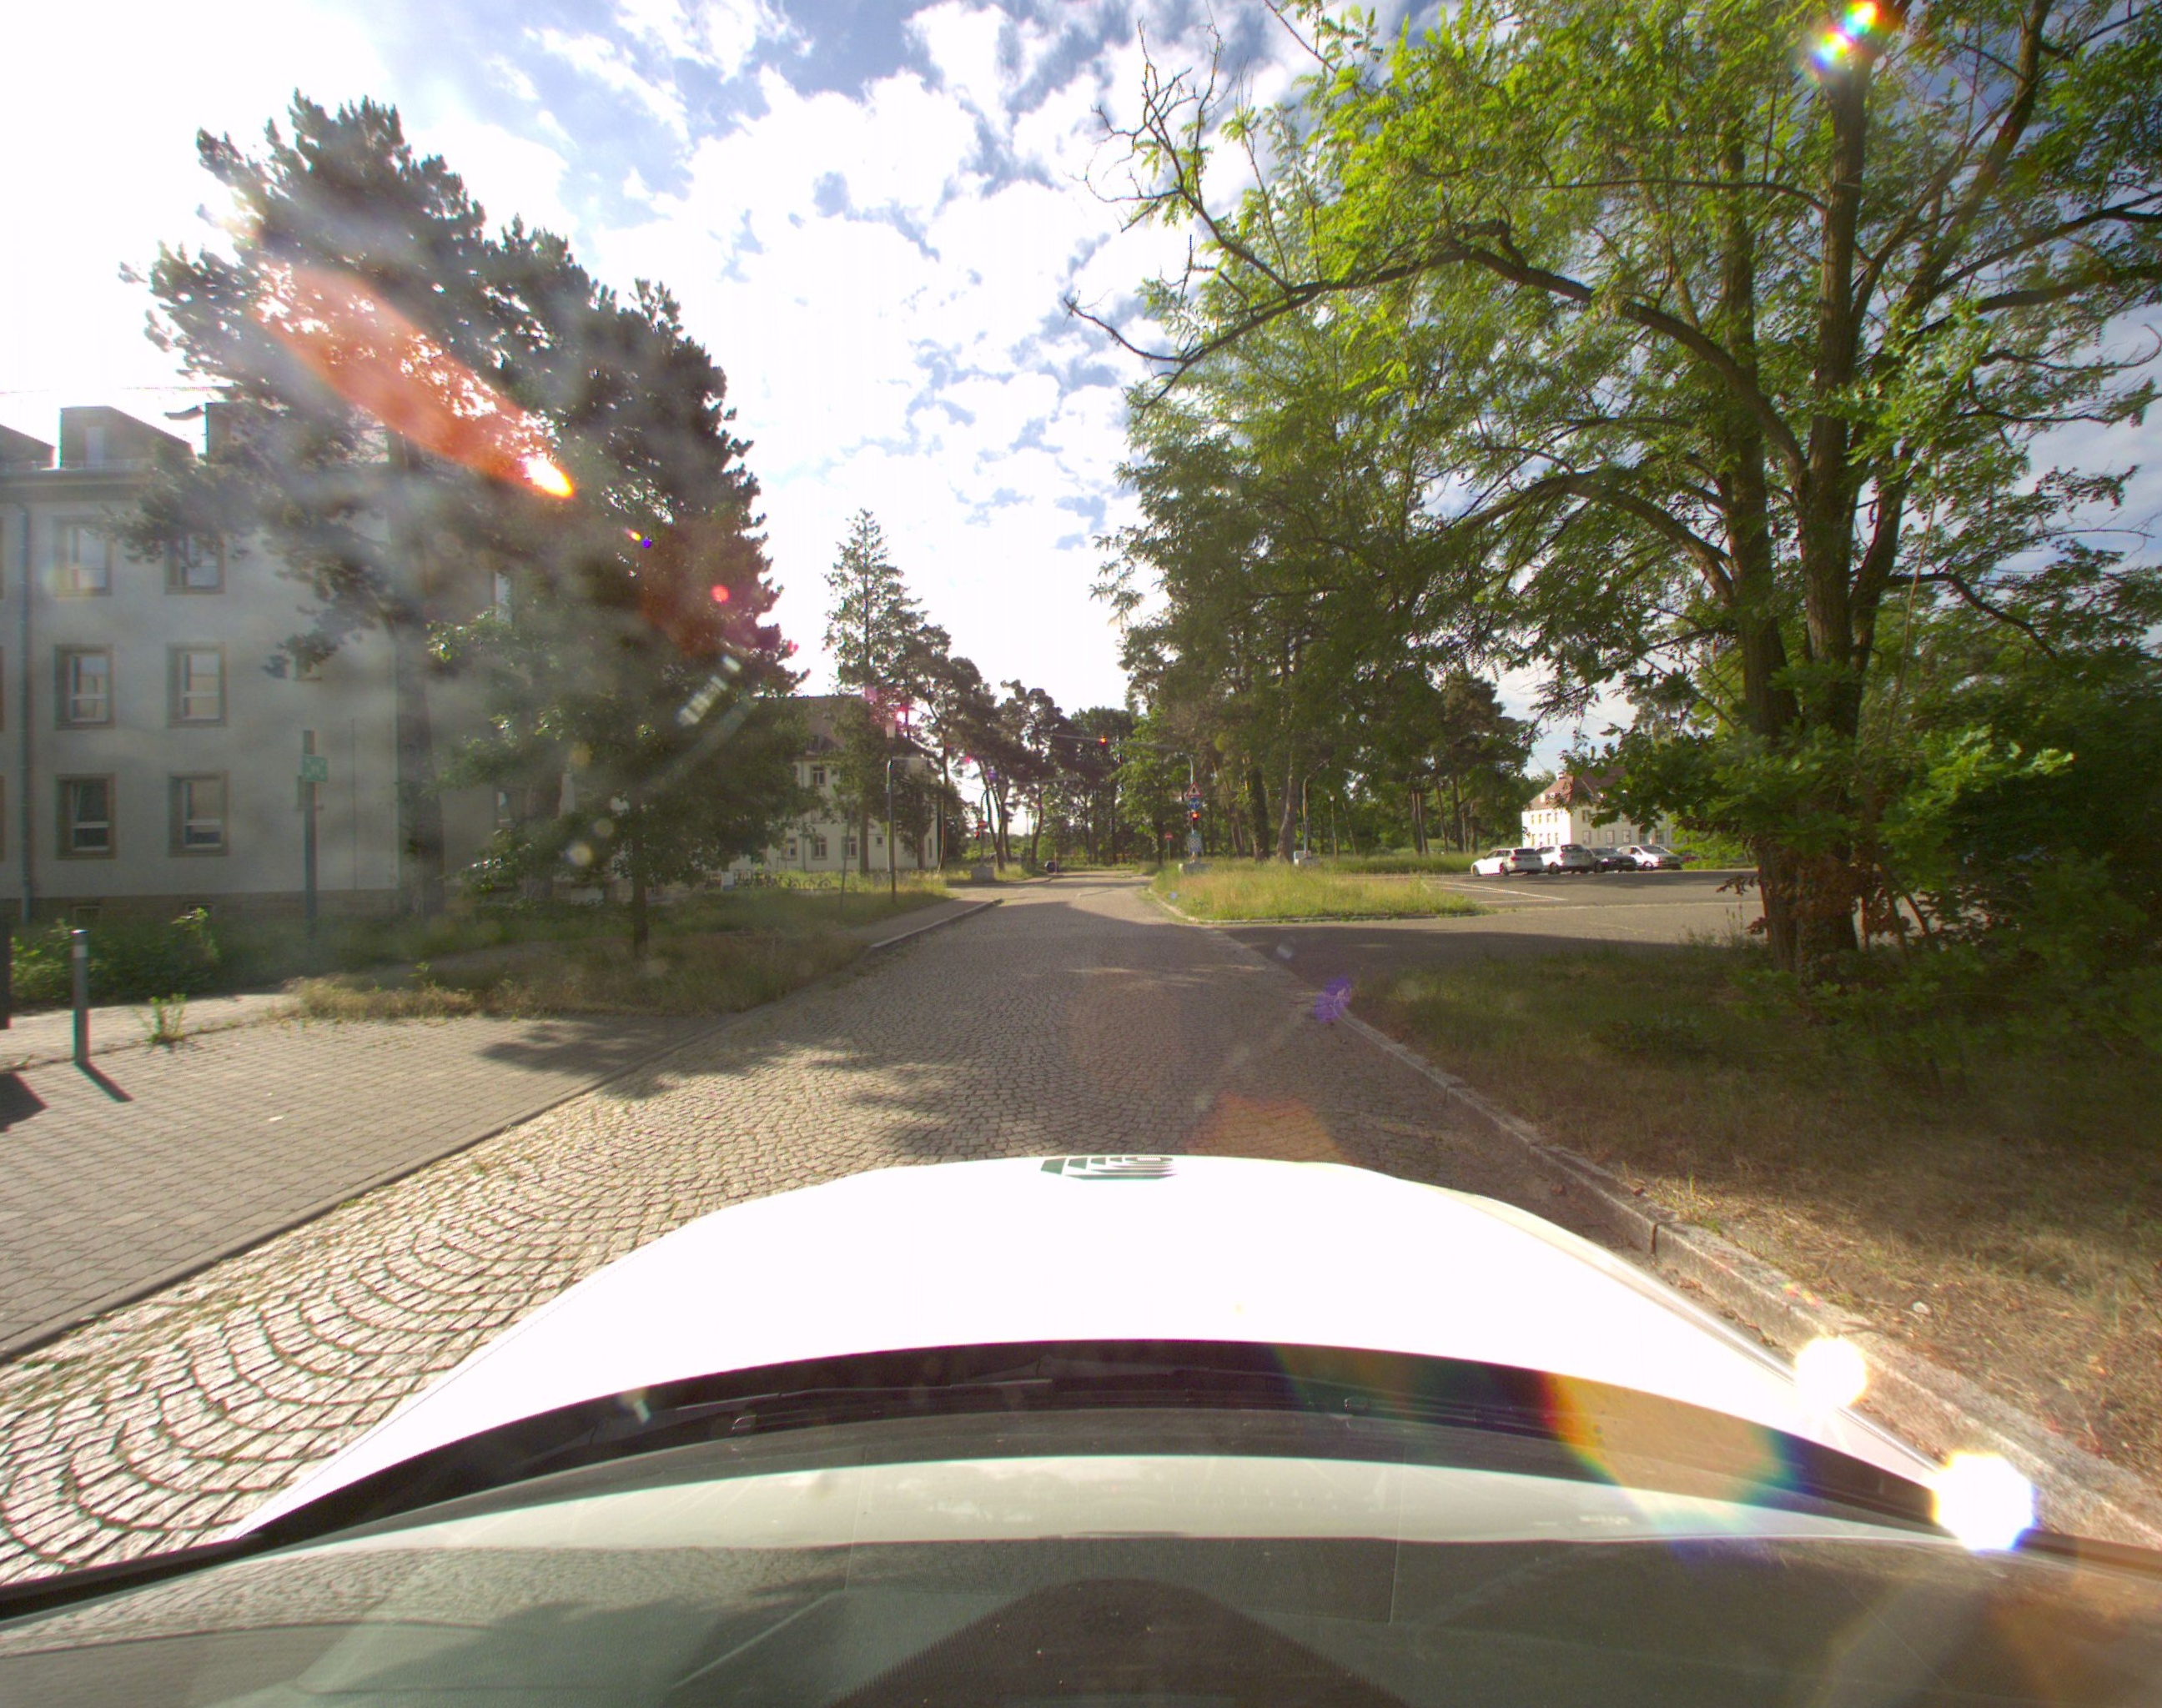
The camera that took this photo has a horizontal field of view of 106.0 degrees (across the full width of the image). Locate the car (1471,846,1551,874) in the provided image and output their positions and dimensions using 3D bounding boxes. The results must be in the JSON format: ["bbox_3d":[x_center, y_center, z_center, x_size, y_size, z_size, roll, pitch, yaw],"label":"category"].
[{"bbox_3d":[22.191,0.302,42.270,1.726,1.312,4.328,-2,0,-2],"label":"car"}]

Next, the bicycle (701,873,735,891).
[{"bbox_3d":[-22.285,1.713,50.061,0.897,1.047,2.554,-2,0,1],"label":"bicycle"}]

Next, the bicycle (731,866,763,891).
[{"bbox_3d":[-20.611,1.500,50.352,0.823,1.437,2.554,-2,0,1],"label":"bicycle"}]

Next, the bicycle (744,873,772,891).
[{"bbox_3d":[-19.824,1.703,50.002,0.823,1.047,2.124,-2,0,1],"label":"bicycle"}]

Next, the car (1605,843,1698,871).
[{"bbox_3d":[30.064,0.161,43.102,1.726,1.312,4.328,-2,0,-2],"label":"car"}]

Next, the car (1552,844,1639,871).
[{"bbox_3d":[27.011,0.188,42.933,1.726,1.312,4.328,-2,0,-2],"label":"car"}]

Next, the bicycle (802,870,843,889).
[{"bbox_3d":[-15.497,1.546,48.858,2.112,1.047,0.828,-2,-1,-3],"label":"bicycle"}]

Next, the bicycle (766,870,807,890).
[{"bbox_3d":[-17.619,1.556,48.779,2.112,1.108,0.828,-2,-1,-3],"label":"bicycle"}]

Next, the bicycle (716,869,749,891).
[{"bbox_3d":[-21.388,1.593,50.055,0.823,1.281,2.554,-2,0,1],"label":"bicycle"}]

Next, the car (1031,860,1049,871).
[{"bbox_3d":[-5.563,1.576,111.002,1.772,1.490,3.764,-2,0,8],"label":"car"}]

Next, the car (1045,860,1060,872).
[{"bbox_3d":[-3.650,1.515,106.245,1.840,1.486,3.998,-2,0,-1],"label":"car"}]

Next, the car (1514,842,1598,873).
[{"bbox_3d":[24.710,0.207,42.559,1.726,1.476,4.328,-2,0,-2],"label":"car"}]

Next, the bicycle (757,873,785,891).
[{"bbox_3d":[-19.043,1.701,50.040,0.823,1.047,2.124,-2,0,1],"label":"bicycle"}]
